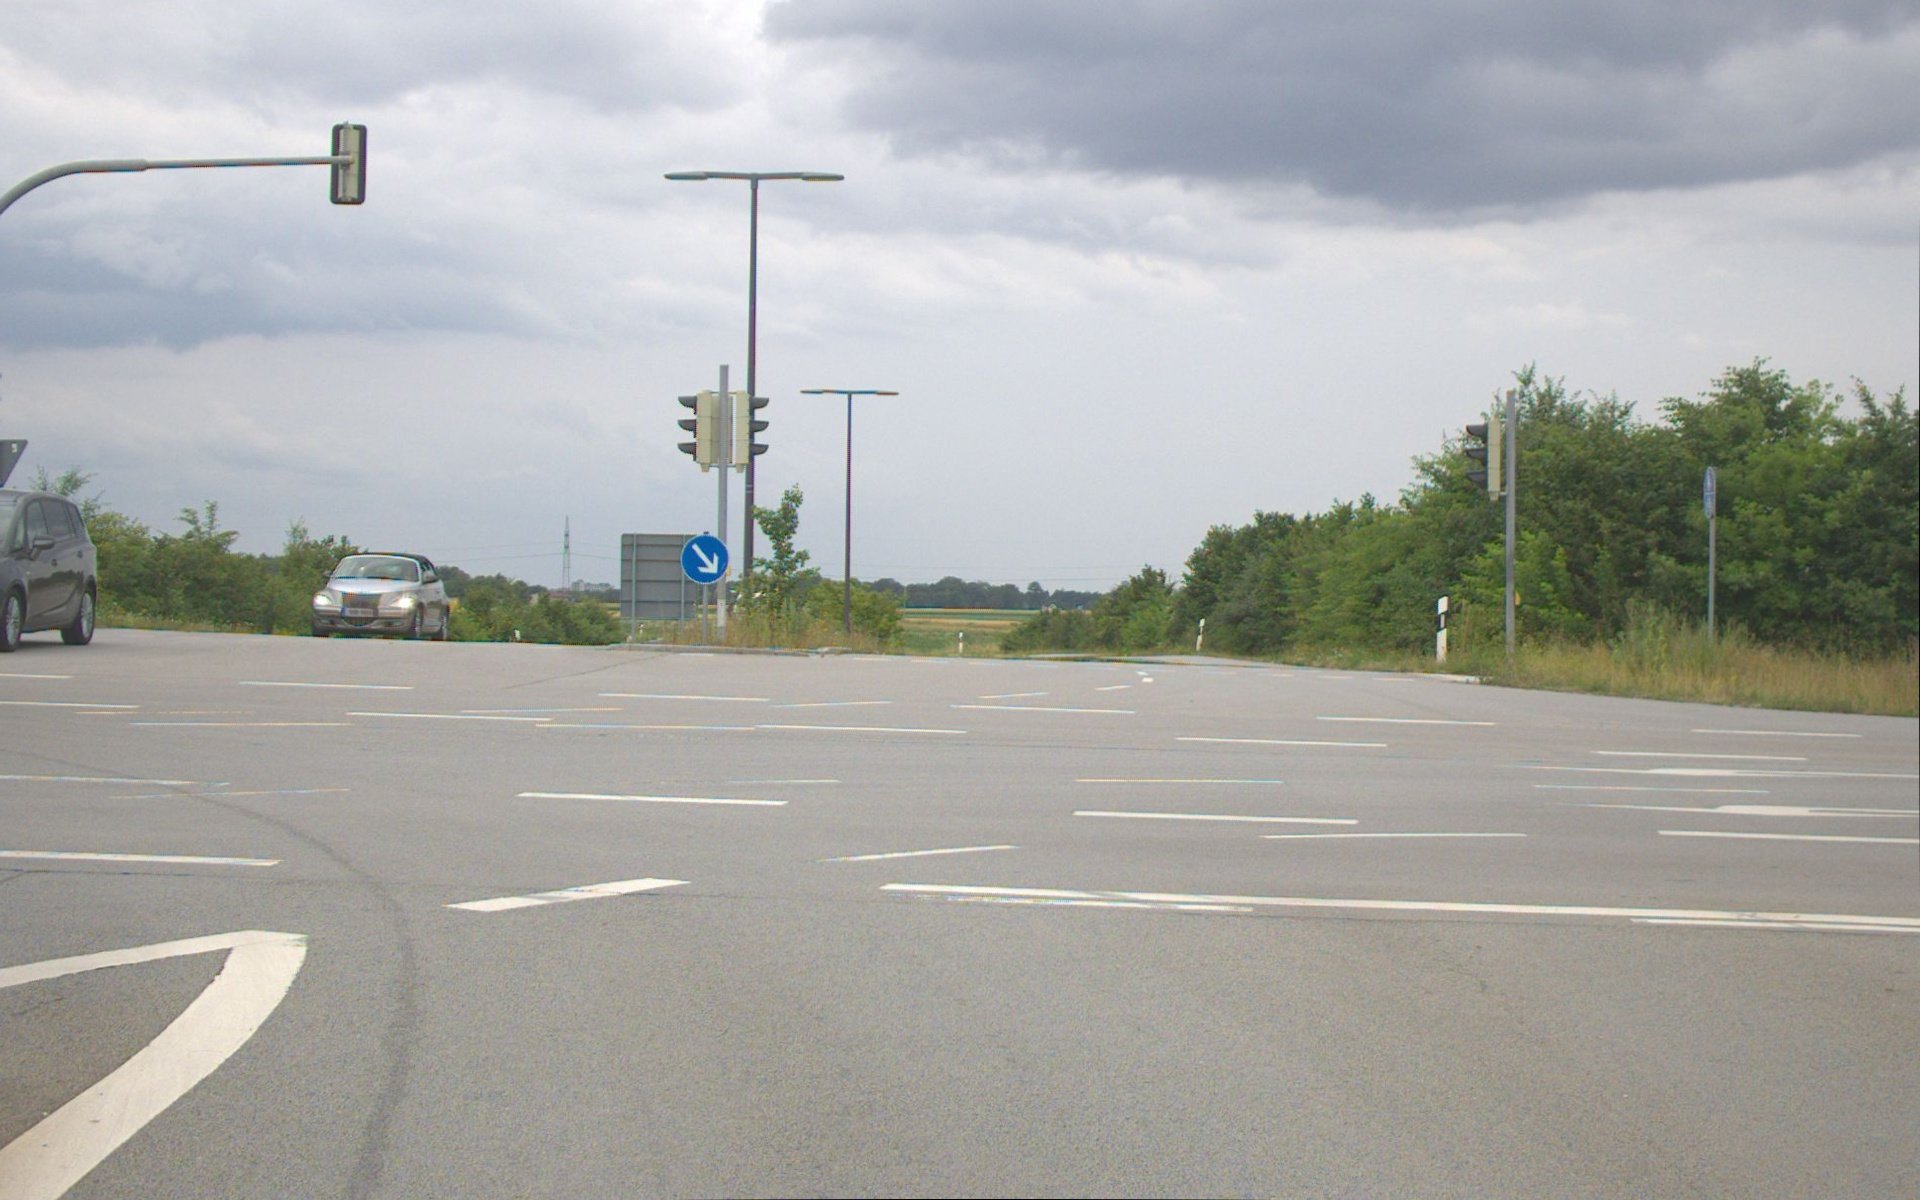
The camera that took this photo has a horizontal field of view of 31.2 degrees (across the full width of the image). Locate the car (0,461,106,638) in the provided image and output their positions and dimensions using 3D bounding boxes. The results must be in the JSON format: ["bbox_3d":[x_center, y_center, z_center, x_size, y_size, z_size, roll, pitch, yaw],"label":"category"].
[{"bbox_3d":[-10.190,-0.511,34.814,1.993,1.688,4.455,1,1,-1],"label":"car"}]

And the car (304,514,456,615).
[{"bbox_3d":[-9.487,-0.617,56.515,1.810,1.515,4.243,1,2,-1],"label":"car"}]
